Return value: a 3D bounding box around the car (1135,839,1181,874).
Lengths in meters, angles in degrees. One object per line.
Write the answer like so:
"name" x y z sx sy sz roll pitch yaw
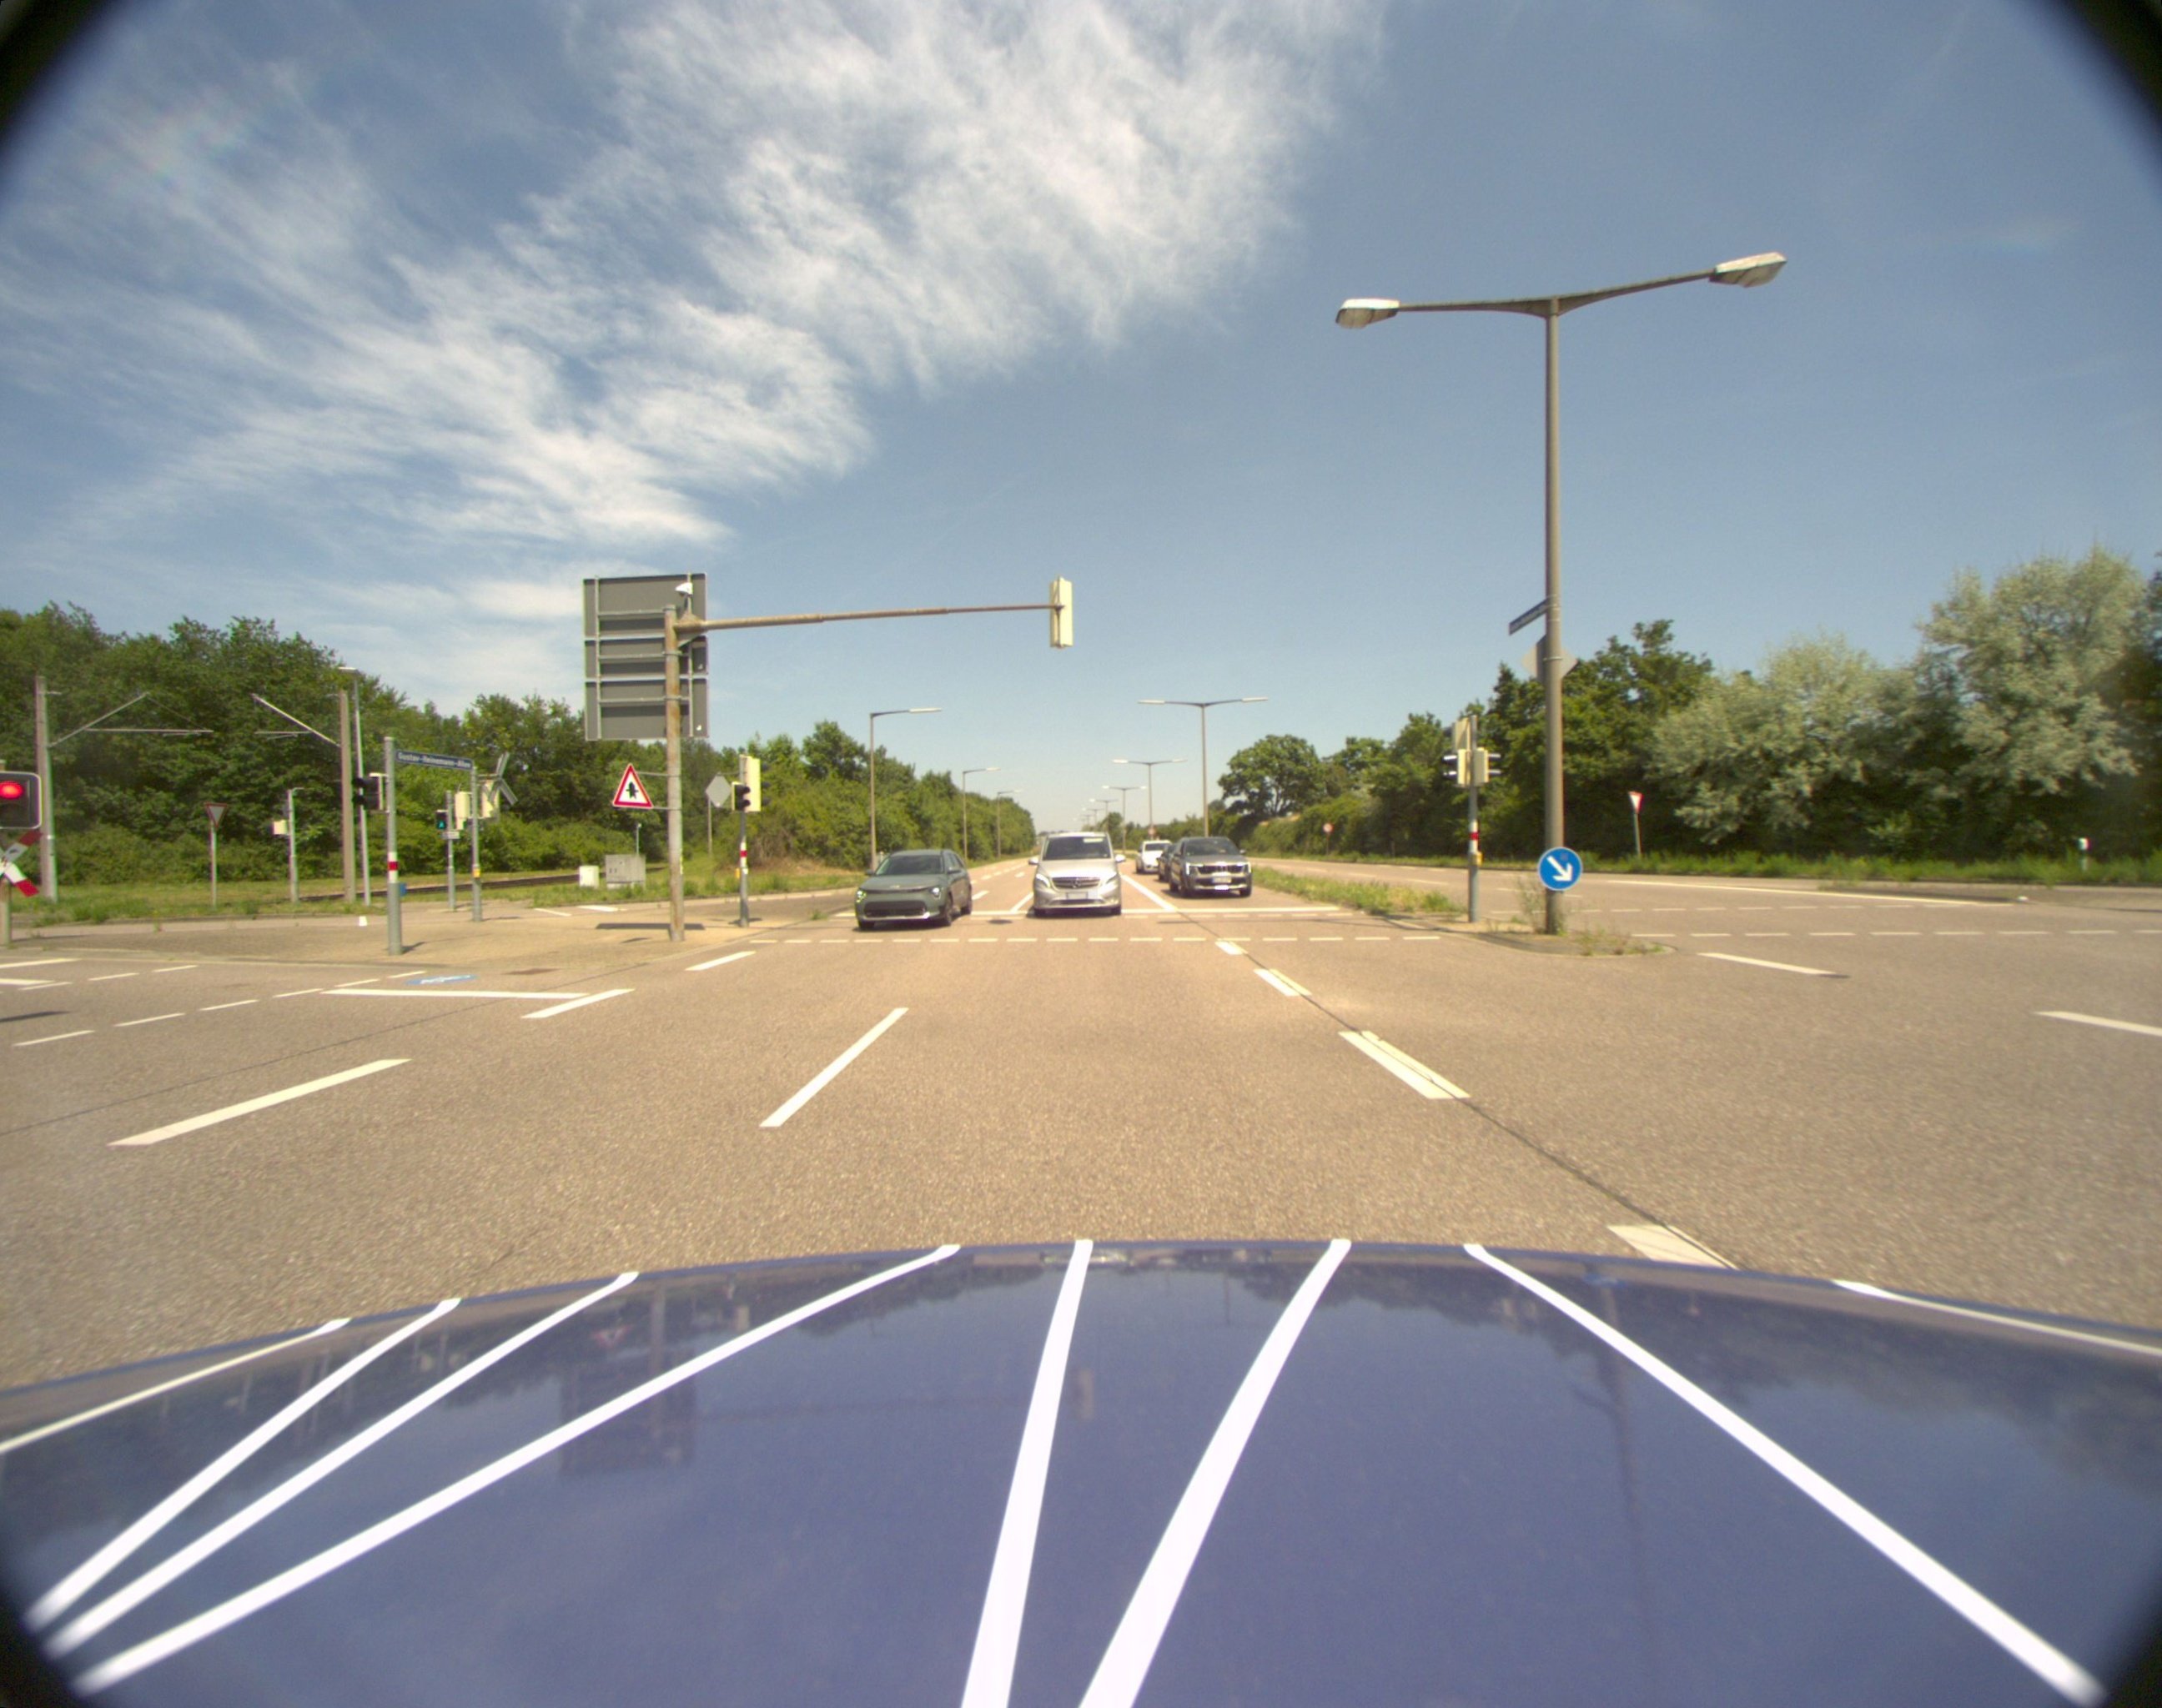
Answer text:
"car" 3.925 0.073 39.195 1.921 1.662 4.000 -1 2 0

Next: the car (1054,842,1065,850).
"car" -4.859 -1.847 172.423 1.998 1.652 4.000 -1 1 4

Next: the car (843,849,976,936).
"car" -3.507 0.722 16.274 1.722 1.587 4.000 -1 1 3

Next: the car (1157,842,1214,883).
"car" 4.199 0.279 30.968 1.753 1.491 3.999 -2 1 1

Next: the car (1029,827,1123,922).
"car" -0.005 0.368 18.195 1.876 1.866 5.731 -1 1 2

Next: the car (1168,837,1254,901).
"car" 3.720 0.354 22.471 1.785 1.659 4.530 -1 1 0
